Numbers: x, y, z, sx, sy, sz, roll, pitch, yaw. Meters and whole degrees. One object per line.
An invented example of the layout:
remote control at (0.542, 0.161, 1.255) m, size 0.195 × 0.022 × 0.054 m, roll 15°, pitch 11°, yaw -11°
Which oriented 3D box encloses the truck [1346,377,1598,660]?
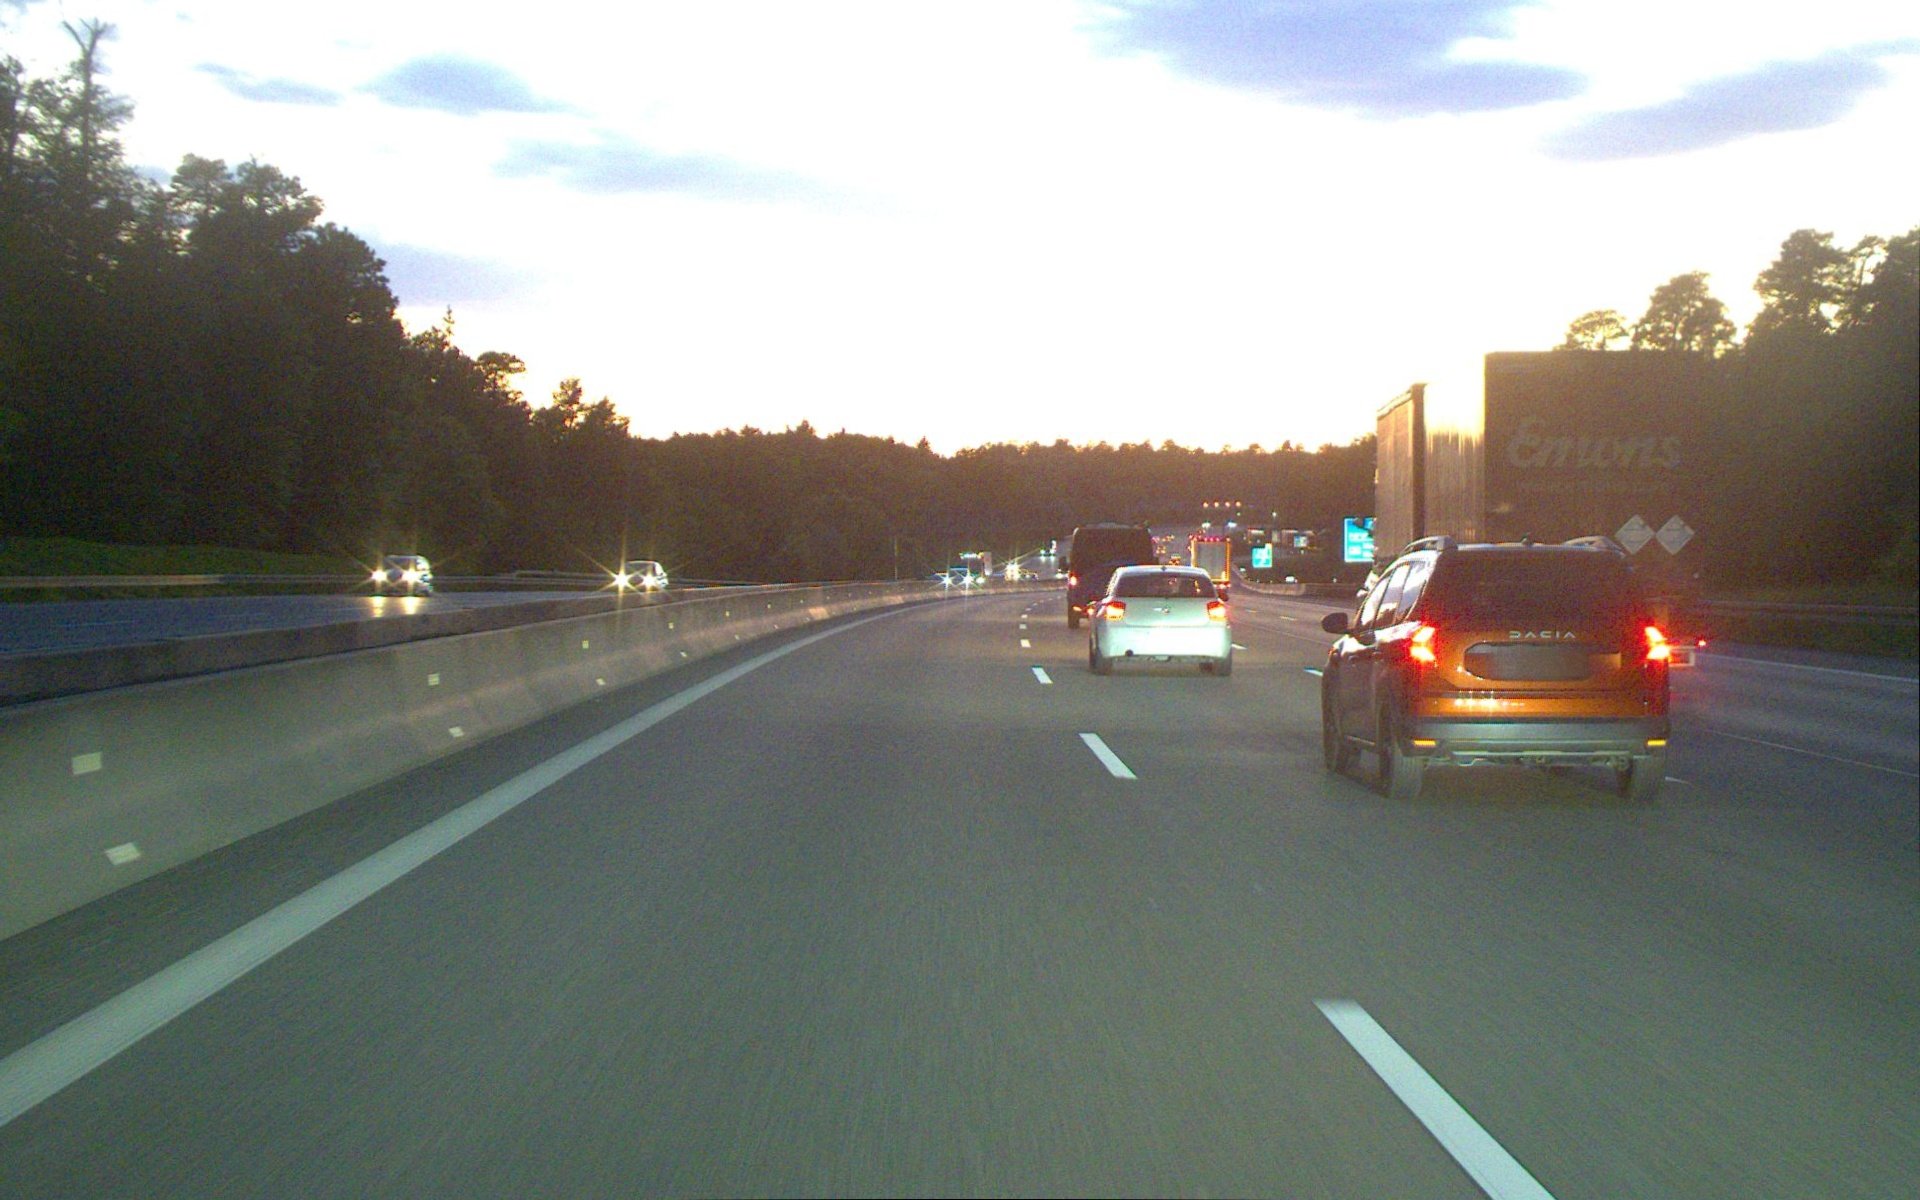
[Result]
truck at (8.060, -1.191, 55.473) m, size 2.885 × 4.087 × 10.830 m, roll 1°, pitch 0°, yaw 3°

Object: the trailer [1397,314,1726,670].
trailer at (7.607, -1.249, 44.922) m, size 2.907 × 4.087 × 10.356 m, roll 1°, pitch 0°, yaw 3°

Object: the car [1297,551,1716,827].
car at (3.522, 0.499, 23.104) m, size 1.903 × 1.638 × 5.052 m, roll 0°, pitch 1°, yaw -1°

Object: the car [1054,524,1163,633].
car at (3.467, -0.467, 79.309) m, size 2.166 × 2.410 × 5.562 m, roll 0°, pitch 0°, yaw 6°

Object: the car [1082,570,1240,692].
car at (2.611, 0.380, 45.410) m, size 1.859 × 1.437 × 3.721 m, roll 0°, pitch 2°, yaw 0°

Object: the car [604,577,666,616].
car at (-13.231, -0.137, 140.173) m, size 1.842 × 1.458 × 4.775 m, roll 2°, pitch 1°, yaw 3°

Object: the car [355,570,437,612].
car at (-20.899, -0.356, 127.472) m, size 1.843 × 1.458 × 3.999 m, roll 2°, pitch 1°, yaw 8°

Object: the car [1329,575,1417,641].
car at (9.932, 0.191, 82.873) m, size 2.008 × 1.533 × 3.999 m, roll 0°, pitch 0°, yaw 6°

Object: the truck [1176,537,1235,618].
truck at (18.278, -1.640, 255.807) m, size 4.150 × 5.836 × 14.294 m, roll 0°, pitch 0°, yaw 4°
